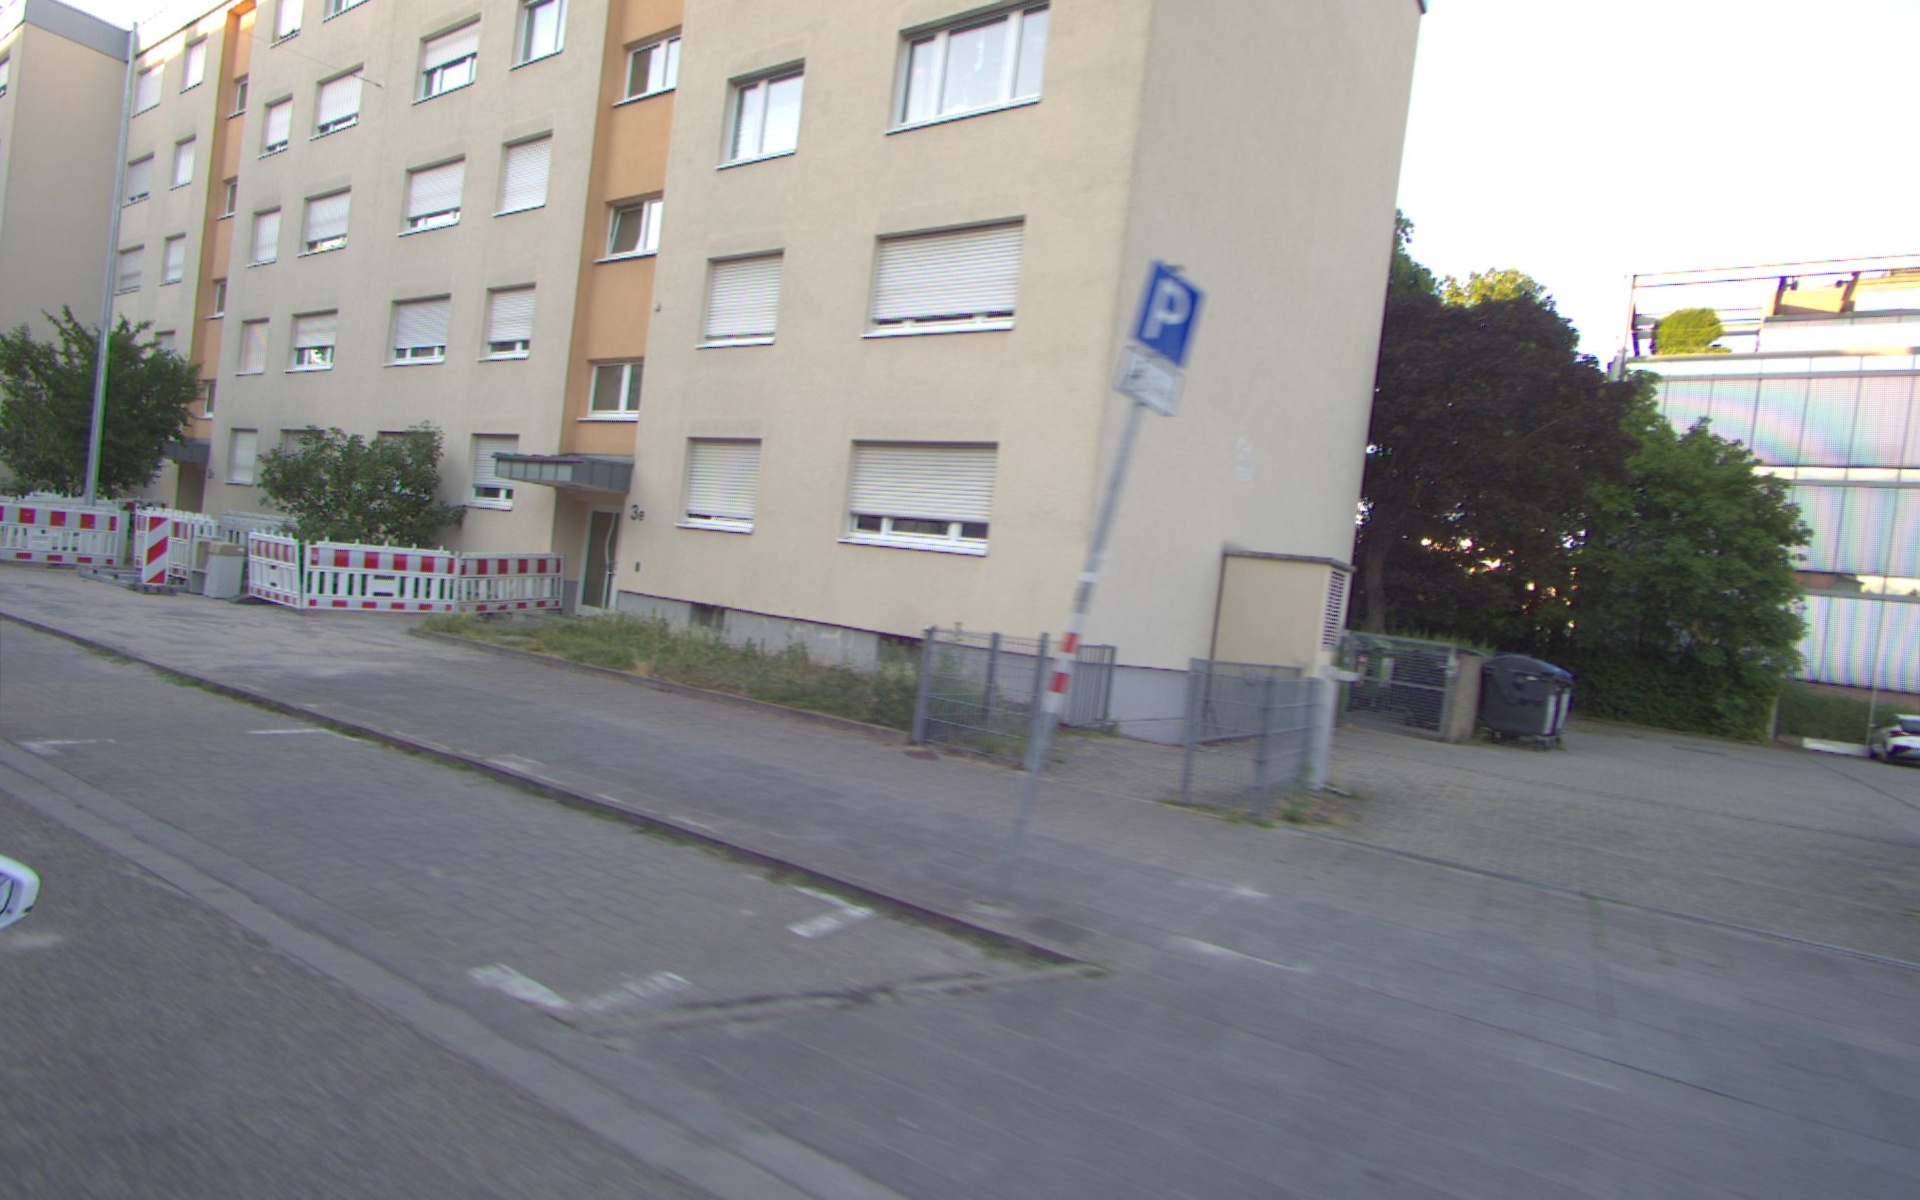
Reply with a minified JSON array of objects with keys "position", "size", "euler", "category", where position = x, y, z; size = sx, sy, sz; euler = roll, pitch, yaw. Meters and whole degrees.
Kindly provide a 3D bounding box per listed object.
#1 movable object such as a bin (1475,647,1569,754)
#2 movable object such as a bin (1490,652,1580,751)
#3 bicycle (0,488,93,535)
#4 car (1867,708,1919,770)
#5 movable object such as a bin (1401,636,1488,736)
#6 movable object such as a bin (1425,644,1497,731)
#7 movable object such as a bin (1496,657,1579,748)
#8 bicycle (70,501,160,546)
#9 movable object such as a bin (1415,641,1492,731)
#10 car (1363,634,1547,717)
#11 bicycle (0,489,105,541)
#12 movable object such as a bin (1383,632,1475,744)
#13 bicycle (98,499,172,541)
[{"position":[8.950,1.569,16.009],"size":[1.091,1.483,1.317],"euler":[7,1,31],"category":"movable object such as a bin"},{"position":[9.921,1.716,17.351],"size":[1.140,1.483,1.388],"euler":[7,1,31],"category":"movable object such as a bin"},{"position":[-21.597,-2.076,23.681],"size":[0.550,1.001,1.747],"euler":[8,5,40],"category":"bicycle"},{"position":[27.536,4.019,28.816],"size":[1.827,1.536,3.717],"euler":[7,0,37],"category":"car"},{"position":[8.191,1.429,16.991],"size":[1.045,1.483,1.388],"euler":[7,1,31],"category":"movable object such as a bin"},{"position":[9.617,1.658,19.290],"size":[0.995,1.483,0.999],"euler":[7,1,31],"category":"movable object such as a bin"},{"position":[10.763,1.877,18.737],"size":[1.140,1.483,1.388],"euler":[7,1,31],"category":"movable object such as a bin"},{"position":[-18.876,-1.713,22.484],"size":[1.584,0.877,0.557],"euler":[4,4,3],"category":"bicycle"},{"position":[8.885,1.532,18.104],"size":[0.995,1.448,1.103],"euler":[7,1,31],"category":"movable object such as a bin"},{"position":[14.136,2.133,28.862],"size":[4.416,1.688,1.918],"euler":[7,0,29],"category":"car"},{"position":[-20.340,-1.897,22.477],"size":[0.548,1.037,1.809],"euler":[7,5,32],"category":"bicycle"},{"position":[7.015,1.298,15.034],"size":[0.995,1.483,0.999],"euler":[7,1,31],"category":"movable object such as a bin"},{"position":[-20.042,-1.935,24.478],"size":[0.548,0.934,1.811],"euler":[3,4,-9],"category":"bicycle"}]
